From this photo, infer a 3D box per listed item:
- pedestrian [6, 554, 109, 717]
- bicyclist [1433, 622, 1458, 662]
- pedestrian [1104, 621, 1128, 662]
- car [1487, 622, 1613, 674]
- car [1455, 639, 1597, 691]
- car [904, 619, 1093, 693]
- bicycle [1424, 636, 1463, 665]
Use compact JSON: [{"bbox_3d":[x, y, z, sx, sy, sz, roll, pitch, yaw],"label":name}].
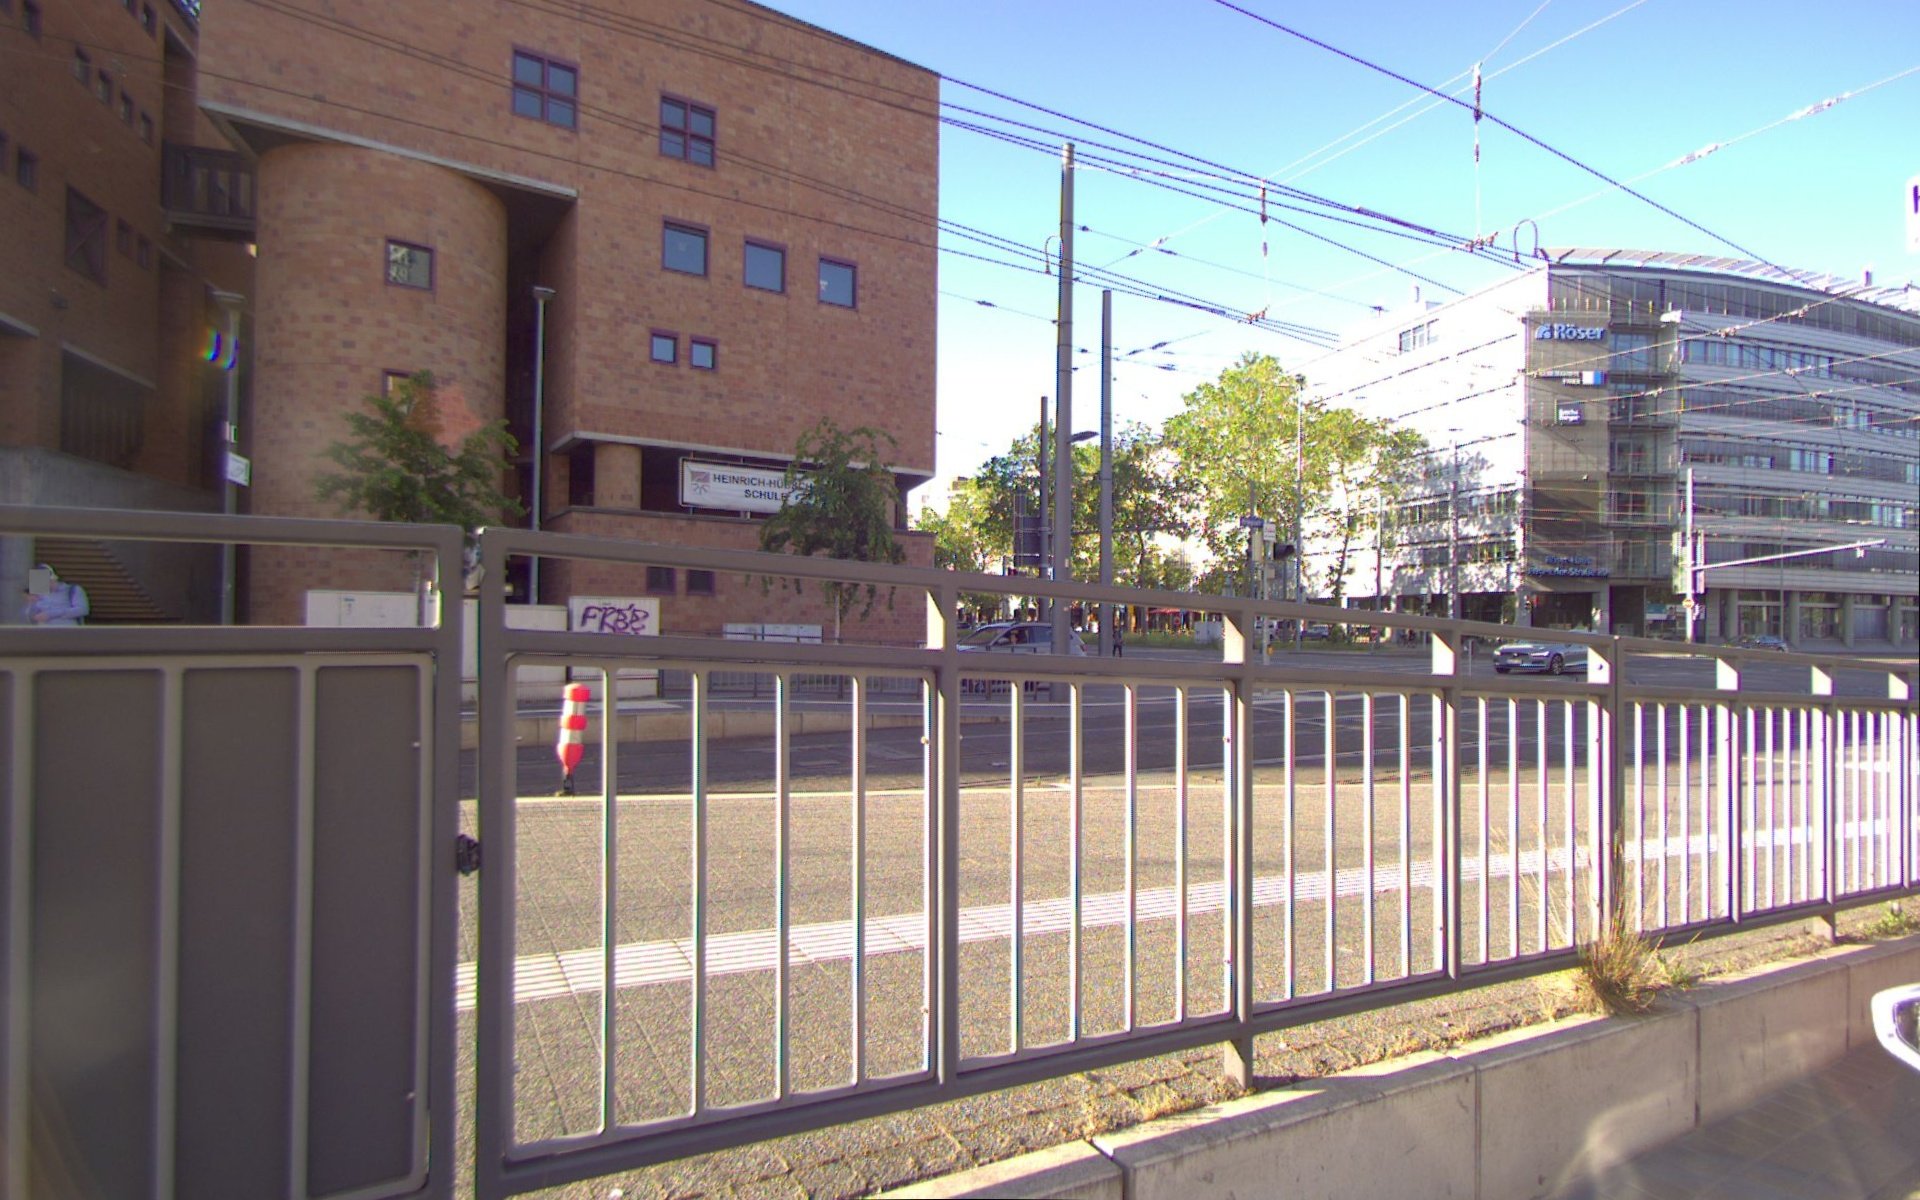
[{"bbox_3d":[-9.545,0.369,10.647,0.679,1.656,0.662,2,0,-34],"label":"pedestrian"},{"bbox_3d":[19.268,1.671,39.849,0.642,1.554,0.584,2,0,-30],"label":"bicyclist"},{"bbox_3d":[6.793,1.799,43.636,0.785,1.714,0.587,2,0,-29],"label":"pedestrian"},{"bbox_3d":[19.549,1.587,33.225,4.646,1.589,1.814,2,-2,-34],"label":"car"},{"bbox_3d":[13.789,1.547,24.537,2.841,1.077,1.238,2,0,40],"label":"car"},{"bbox_3d":[0.940,1.300,23.615,4.198,1.589,1.814,2,-2,-34],"label":"car"},{"bbox_3d":[19.148,1.999,39.783,1.793,1.104,0.458,2,-3,-30],"label":"bicycle"}]
